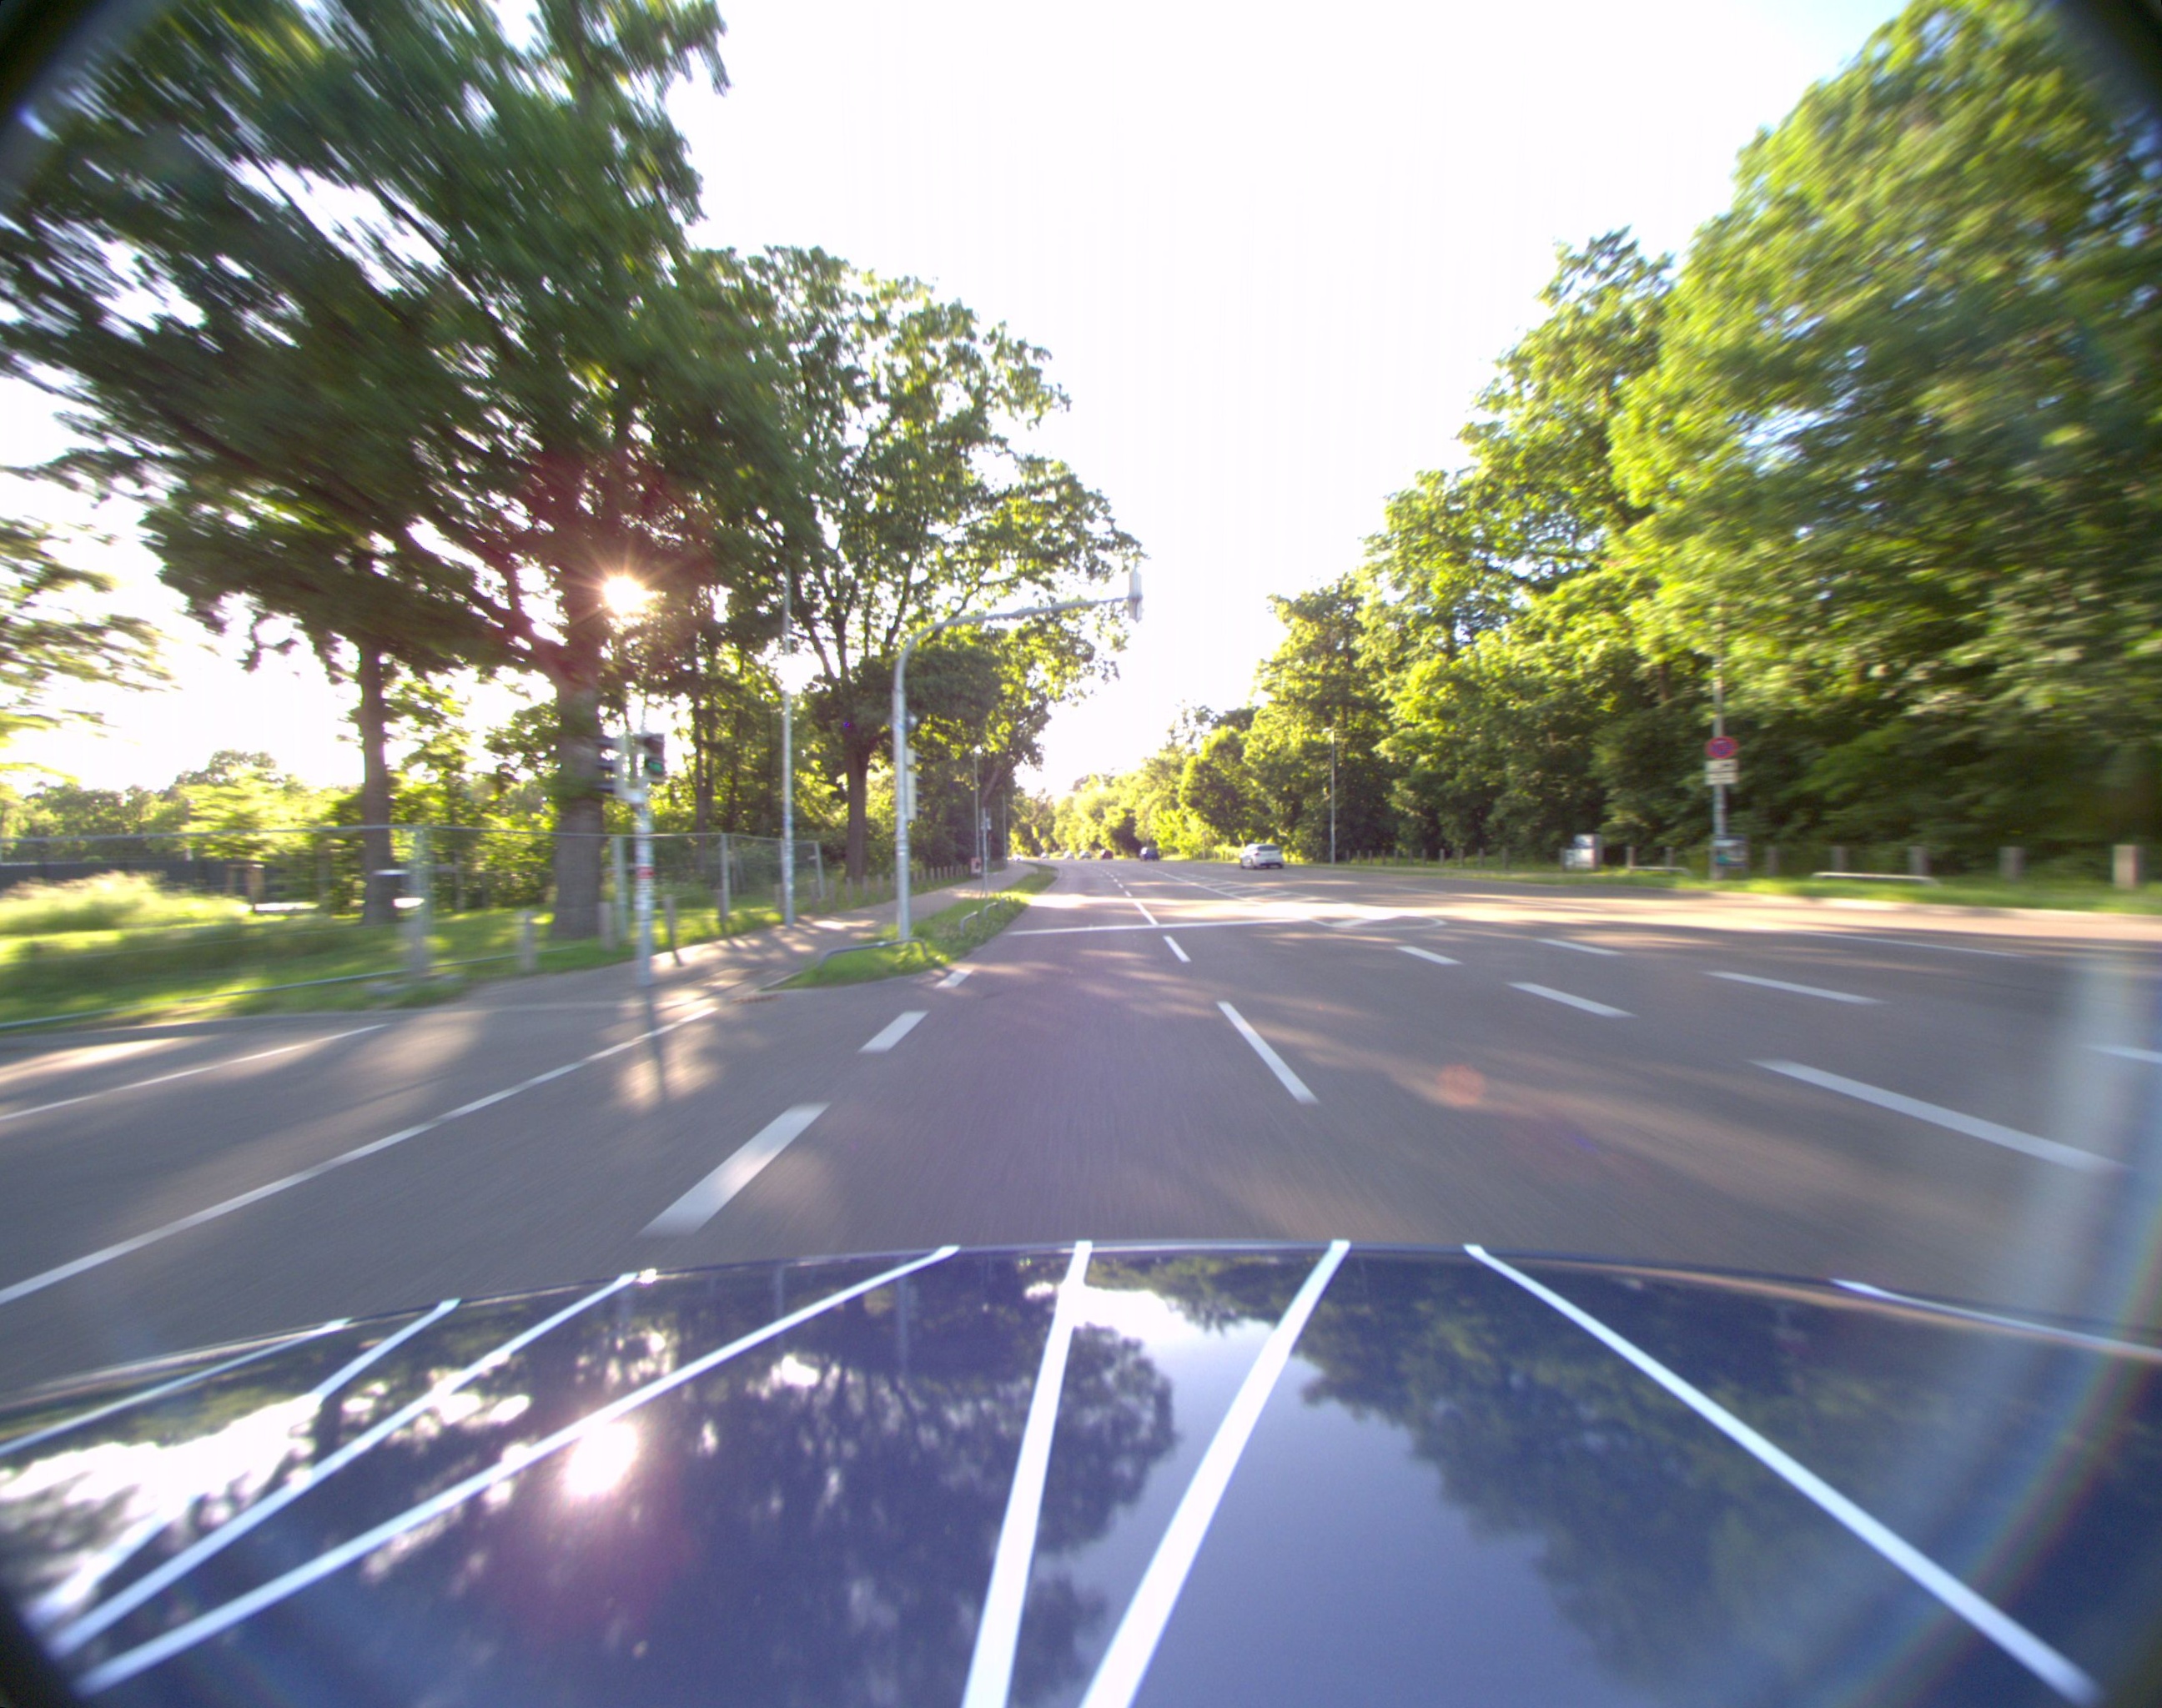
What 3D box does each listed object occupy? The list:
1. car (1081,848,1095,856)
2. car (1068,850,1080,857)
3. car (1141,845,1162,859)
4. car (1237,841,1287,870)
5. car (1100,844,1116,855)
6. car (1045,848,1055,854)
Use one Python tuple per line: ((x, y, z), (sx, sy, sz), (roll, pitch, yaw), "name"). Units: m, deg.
((1.310, -0.336, 138.983), (1.788, 1.513, 4.394), (-2, 0, -9), "car")
((-1.433, -0.156, 157.388), (1.785, 1.455, 4.270), (-1, 0, -9), "car")
((7.888, -0.216, 85.417), (1.660, 1.499, 3.998), (-2, 0, -3), "car")
((10.329, 0.075, 43.601), (1.715, 1.455, 4.099), (-4, 1, -2), "car")
((4.121, -0.697, 117.058), (1.668, 1.509, 3.804), (-2, 0, -8), "car")
((-7.861, -0.756, 191.628), (1.785, 1.400, 4.162), (-2, -1, -10), "car")
